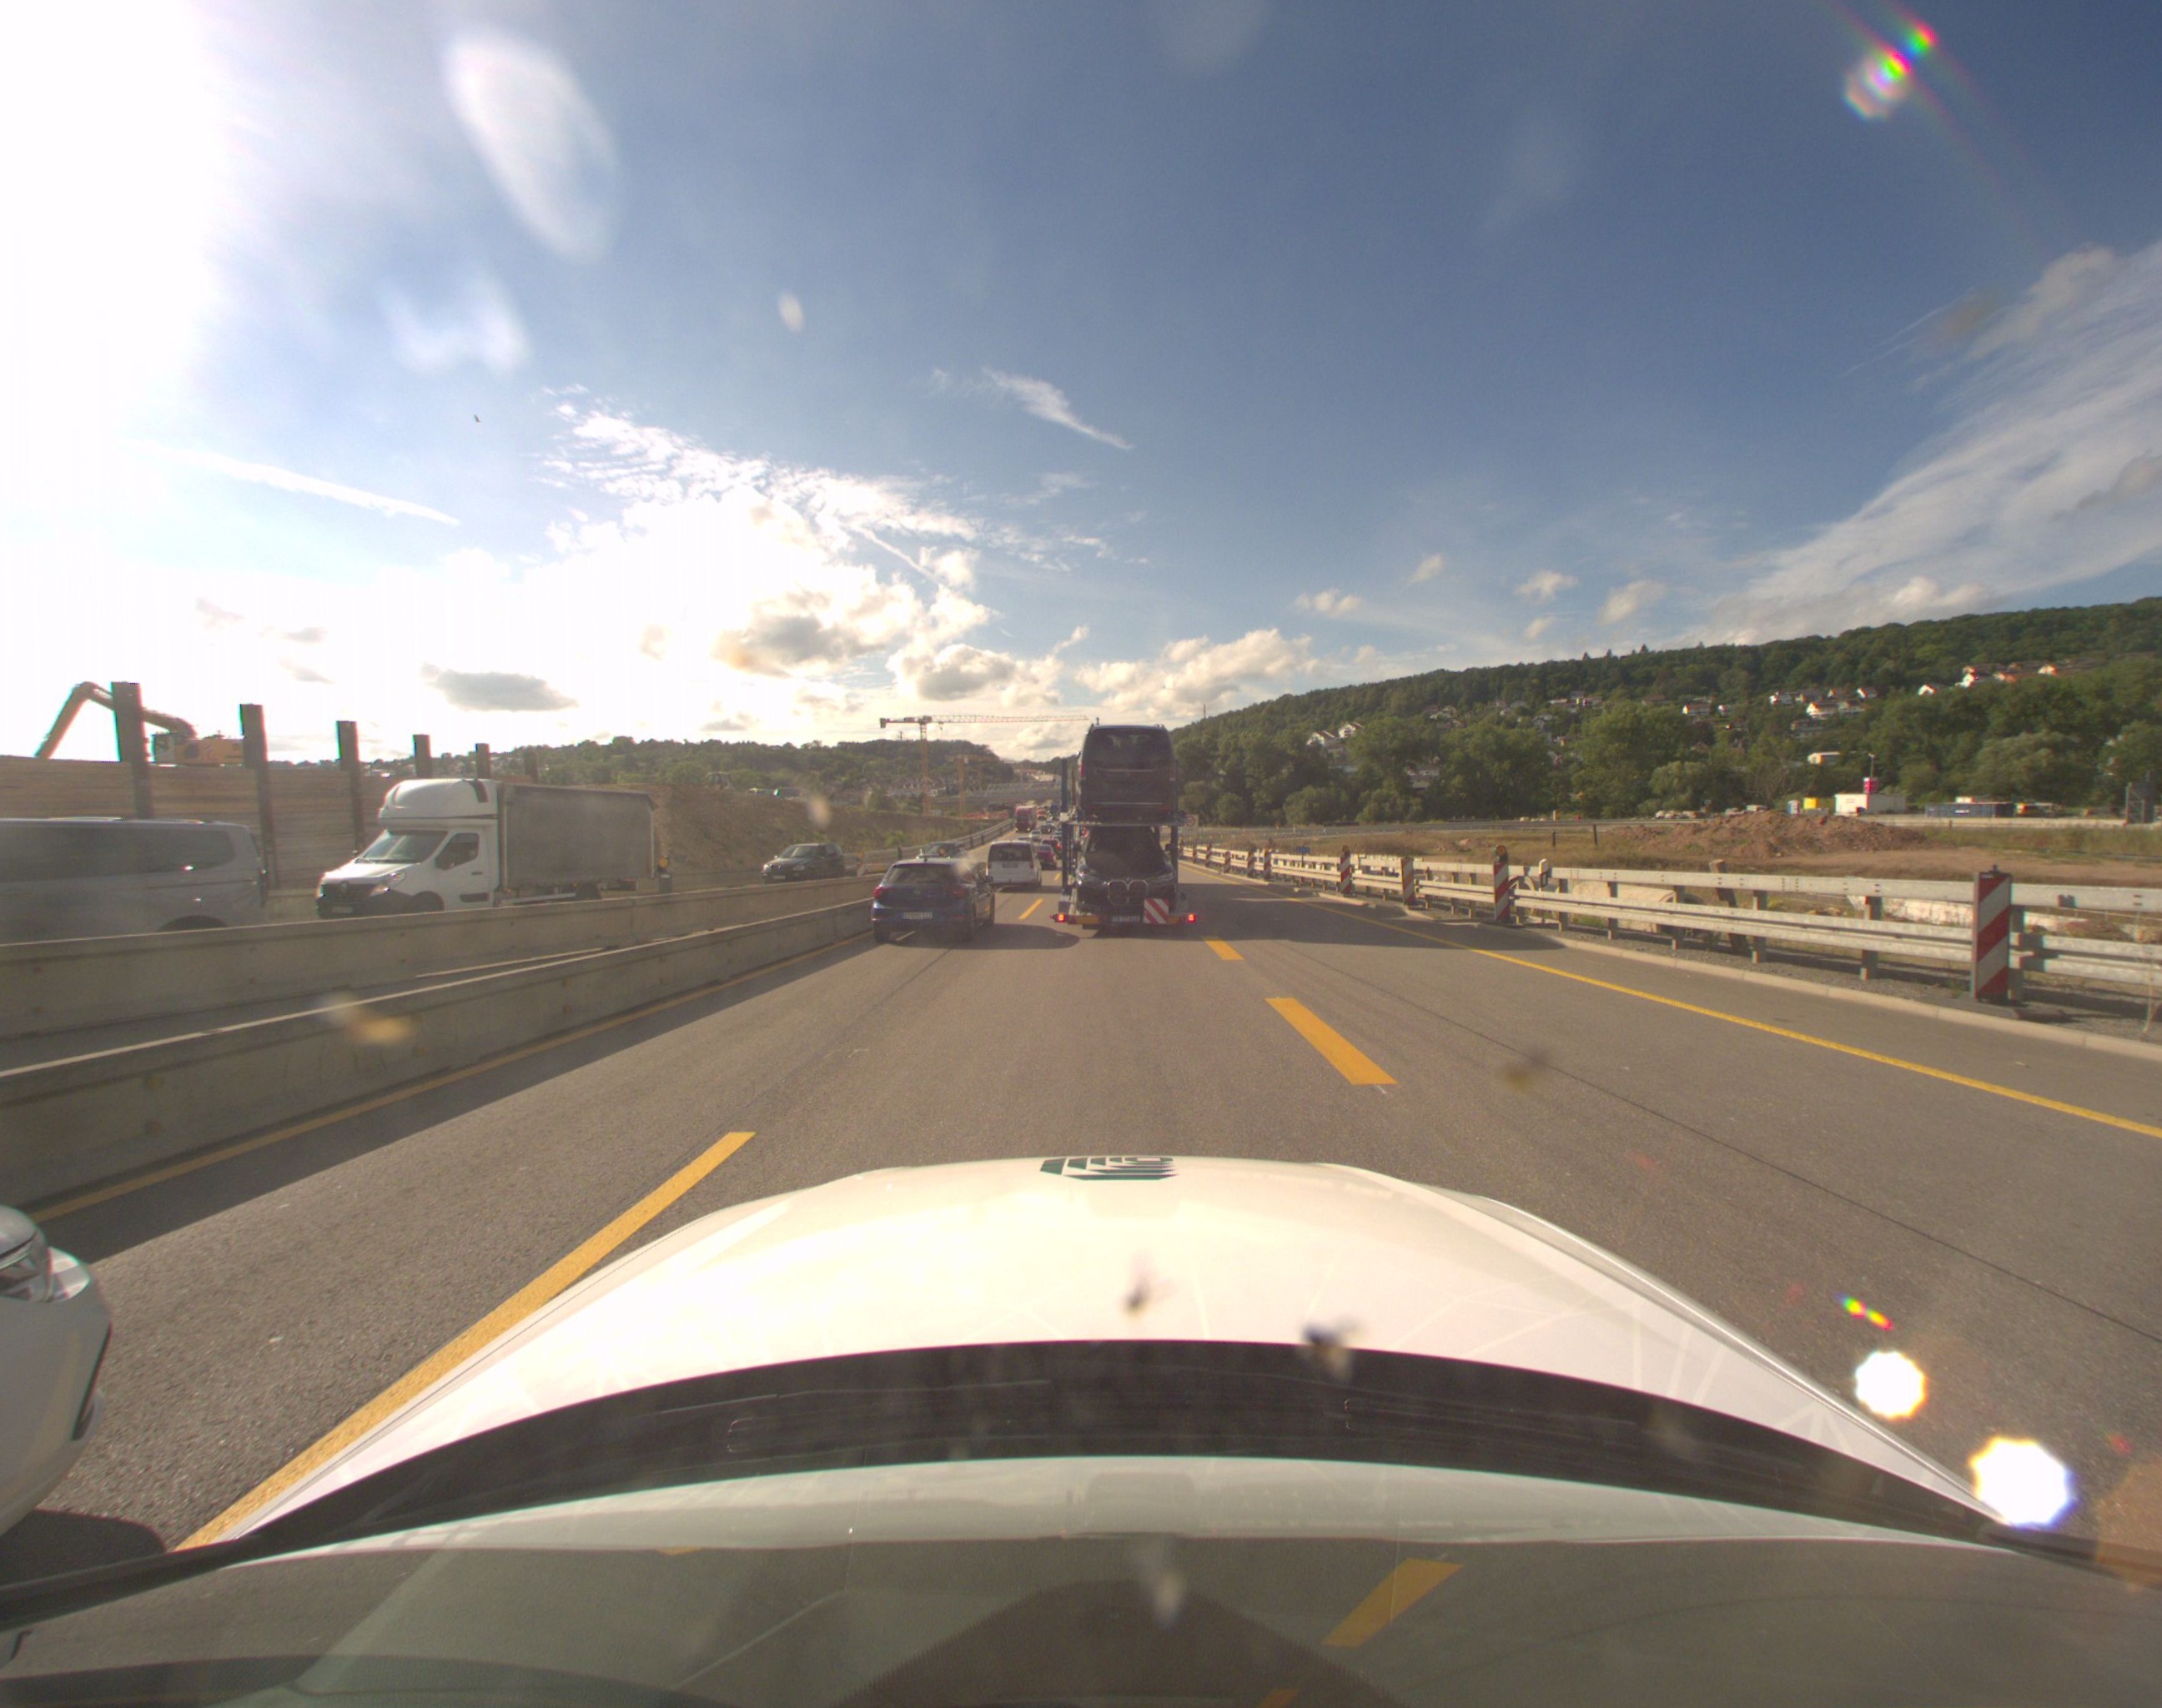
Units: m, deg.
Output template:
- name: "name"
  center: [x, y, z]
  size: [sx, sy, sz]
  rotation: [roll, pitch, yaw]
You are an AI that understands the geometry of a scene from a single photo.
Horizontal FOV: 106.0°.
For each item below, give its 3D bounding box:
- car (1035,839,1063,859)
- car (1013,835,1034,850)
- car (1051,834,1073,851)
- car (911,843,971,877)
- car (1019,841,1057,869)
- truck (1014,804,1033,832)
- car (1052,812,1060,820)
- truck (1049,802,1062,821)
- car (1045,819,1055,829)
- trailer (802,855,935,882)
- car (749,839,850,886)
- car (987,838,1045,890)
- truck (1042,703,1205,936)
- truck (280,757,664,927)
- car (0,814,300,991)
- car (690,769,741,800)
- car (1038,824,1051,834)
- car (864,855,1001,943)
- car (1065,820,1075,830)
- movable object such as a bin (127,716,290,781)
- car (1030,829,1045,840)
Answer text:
- name: "car"
  center: [-2.490, -0.392, 65.115]
  size: [1.986, 1.552, 4.001]
  rotation: [0, -1, 1]
- name: "car"
  center: [-5.840, -1.170, 83.387]
  size: [1.846, 1.439, 4.558]
  rotation: [0, 1, 0]
- name: "car"
  center: [-1.929, -1.183, 82.716]
  size: [1.986, 1.665, 4.002]
  rotation: [0, 1, 2]
- name: "car"
  center: [-7.107, 0.275, 41.913]
  size: [1.844, 1.635, 4.756]
  rotation: [0, 1, 5]
- name: "car"
  center: [-2.524, 0.087, 48.719]
  size: [1.987, 1.556, 4.400]
  rotation: [0, -1, 0]
- name: "truck"
  center: [-9.457, -5.861, 134.651]
  size: [2.907, 4.386, 6.282]
  rotation: [1, 1, -2]
- name: "car"
  center: [-5.613, -8.609, 182.745]
  size: [1.839, 1.648, 4.234]
  rotation: [0, 1, -2]
- name: "truck"
  center: [-7.703, -12.864, 246.257]
  size: [2.809, 4.788, 13.067]
  rotation: [0, -1, 4]
- name: "car"
  center: [-5.653, -5.415, 148.822]
  size: [1.839, 1.648, 4.501]
  rotation: [0, 1, -2]
- name: "trailer"
  center: [-10.139, 0.639, 40.441]
  size: [2.337, 0.939, 10.357]
  rotation: [0, 1, 9]
- name: "car"
  center: [-11.333, 0.308, 33.116]
  size: [1.982, 1.804, 4.456]
  rotation: [0, 0, 9]
- name: "car"
  center: [-2.351, 0.372, 30.188]
  size: [1.817, 1.792, 3.999]
  rotation: [0, -1, 0]
- name: "truck"
  center: [0.756, -0.675, 23.441]
  size: [2.744, 3.954, 18.888]
  rotation: [1, 1, 0]
- name: "truck"
  center: [-13.961, -0.195, 19.771]
  size: [2.683, 3.311, 7.560]
  rotation: [0, -1, 11]
- name: "car"
  center: [-11.768, 0.466, 8.416]
  size: [2.113, 1.766, 5.043]
  rotation: [1, 0, 8]
- name: "car"
  center: [-33.071, -6.241, 73.880]
  size: [1.987, 2.140, 5.321]
  rotation: [-5, -1, 0]
- name: "car"
  center: [-5.790, -3.939, 129.457]
  size: [1.816, 1.439, 4.612]
  rotation: [0, 1, -1]
- name: "car"
  center: [-2.617, 0.749, 15.283]
  size: [1.715, 1.422, 4.001]
  rotation: [0, 0, 2]
- name: "car"
  center: [-2.008, -5.441, 152.172]
  size: [1.839, 1.648, 4.502]
  rotation: [0, 1, -2]
- name: "movable object such as a bin"
  center: [-54.232, -6.441, 50.773]
  size: [5.707, 3.270, 4.525]
  rotation: [0, -1, 12]
- name: "car"
  center: [-5.659, -2.567, 106.596]
  size: [1.748, 1.439, 3.804]
  rotation: [0, 1, 0]
